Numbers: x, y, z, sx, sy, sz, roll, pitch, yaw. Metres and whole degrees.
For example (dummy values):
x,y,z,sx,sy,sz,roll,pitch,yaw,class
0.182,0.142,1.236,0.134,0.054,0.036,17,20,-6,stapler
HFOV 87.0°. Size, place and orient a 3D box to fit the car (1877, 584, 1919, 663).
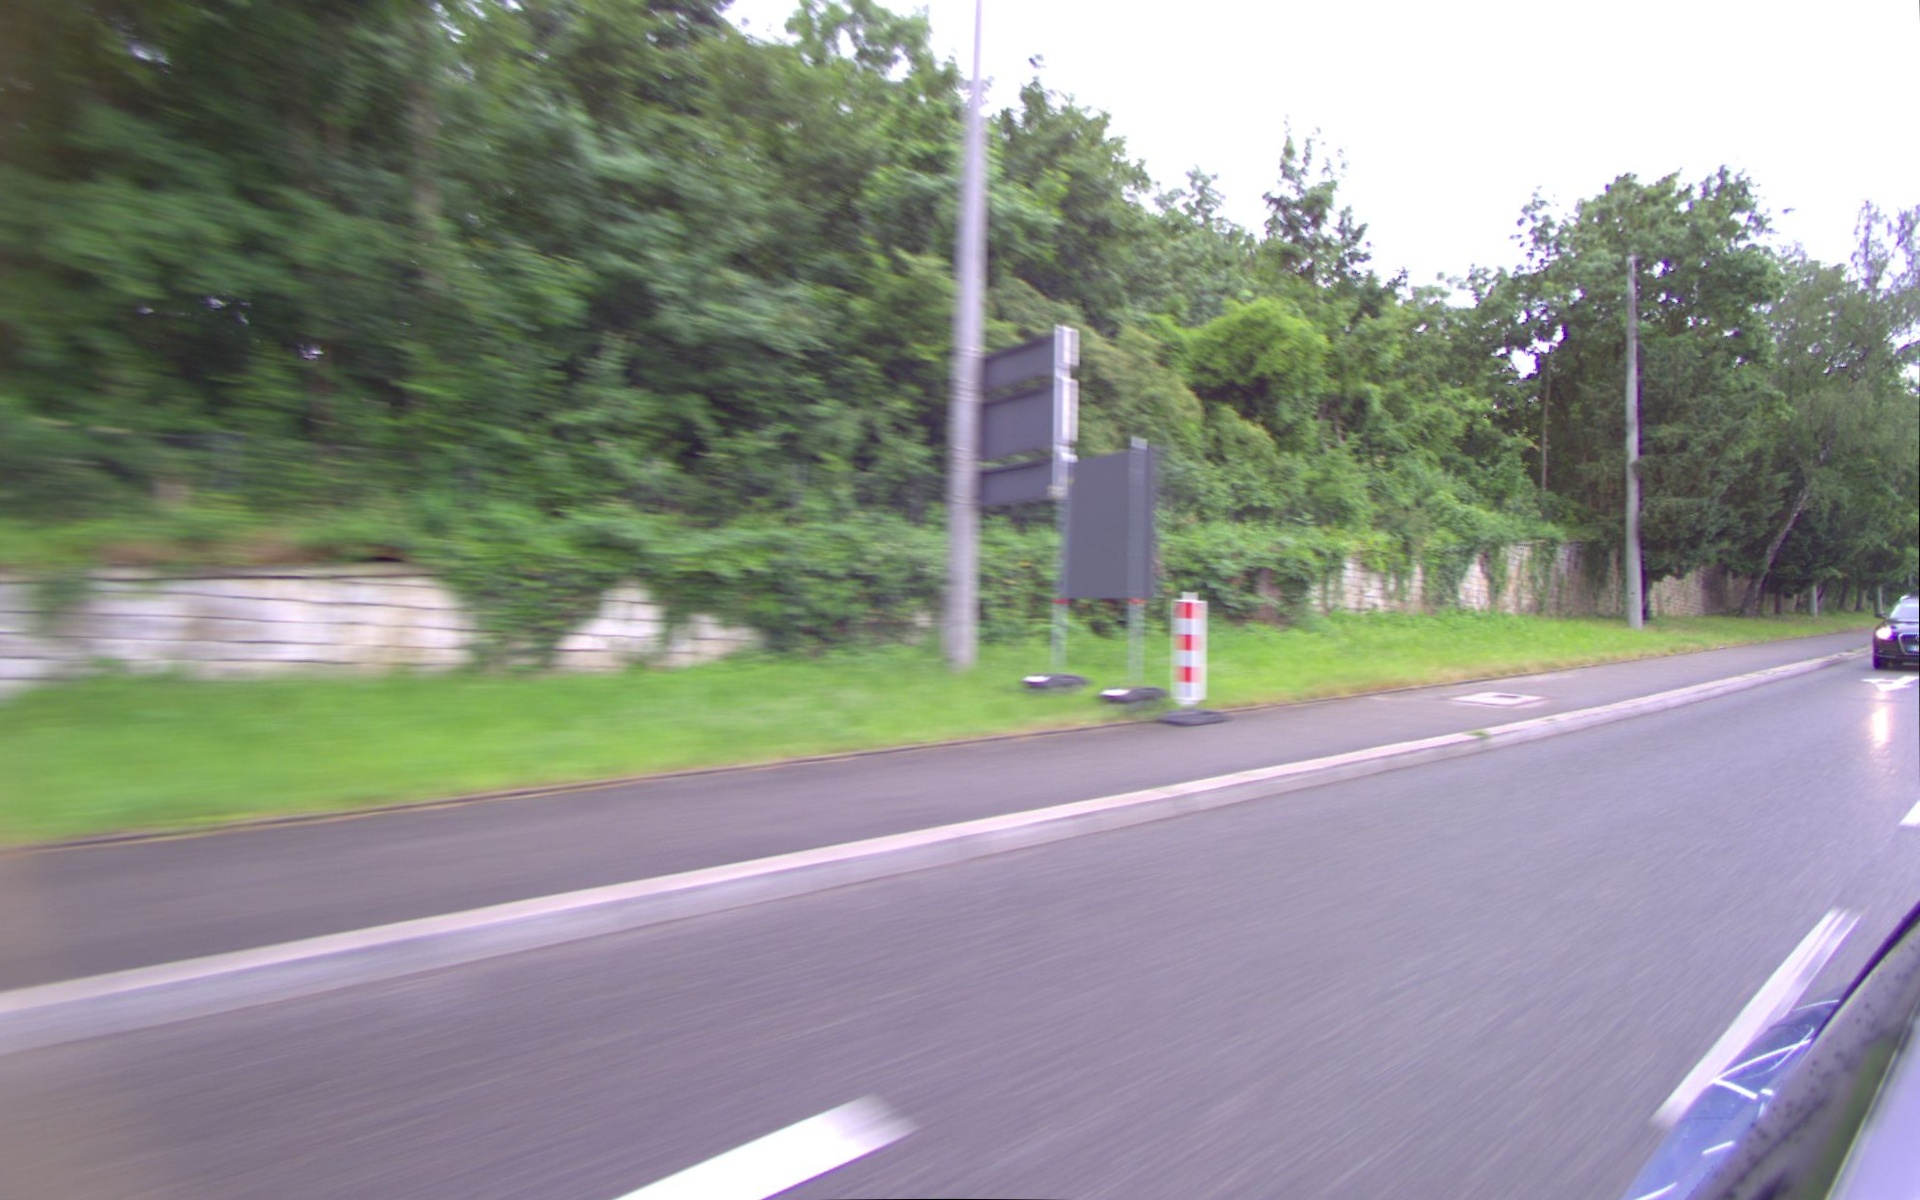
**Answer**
x,y,z,sx,sy,sz,roll,pitch,yaw,class
21.696,0.479,22.075,4.203,1.621,1.927,-1,1,-40,car
